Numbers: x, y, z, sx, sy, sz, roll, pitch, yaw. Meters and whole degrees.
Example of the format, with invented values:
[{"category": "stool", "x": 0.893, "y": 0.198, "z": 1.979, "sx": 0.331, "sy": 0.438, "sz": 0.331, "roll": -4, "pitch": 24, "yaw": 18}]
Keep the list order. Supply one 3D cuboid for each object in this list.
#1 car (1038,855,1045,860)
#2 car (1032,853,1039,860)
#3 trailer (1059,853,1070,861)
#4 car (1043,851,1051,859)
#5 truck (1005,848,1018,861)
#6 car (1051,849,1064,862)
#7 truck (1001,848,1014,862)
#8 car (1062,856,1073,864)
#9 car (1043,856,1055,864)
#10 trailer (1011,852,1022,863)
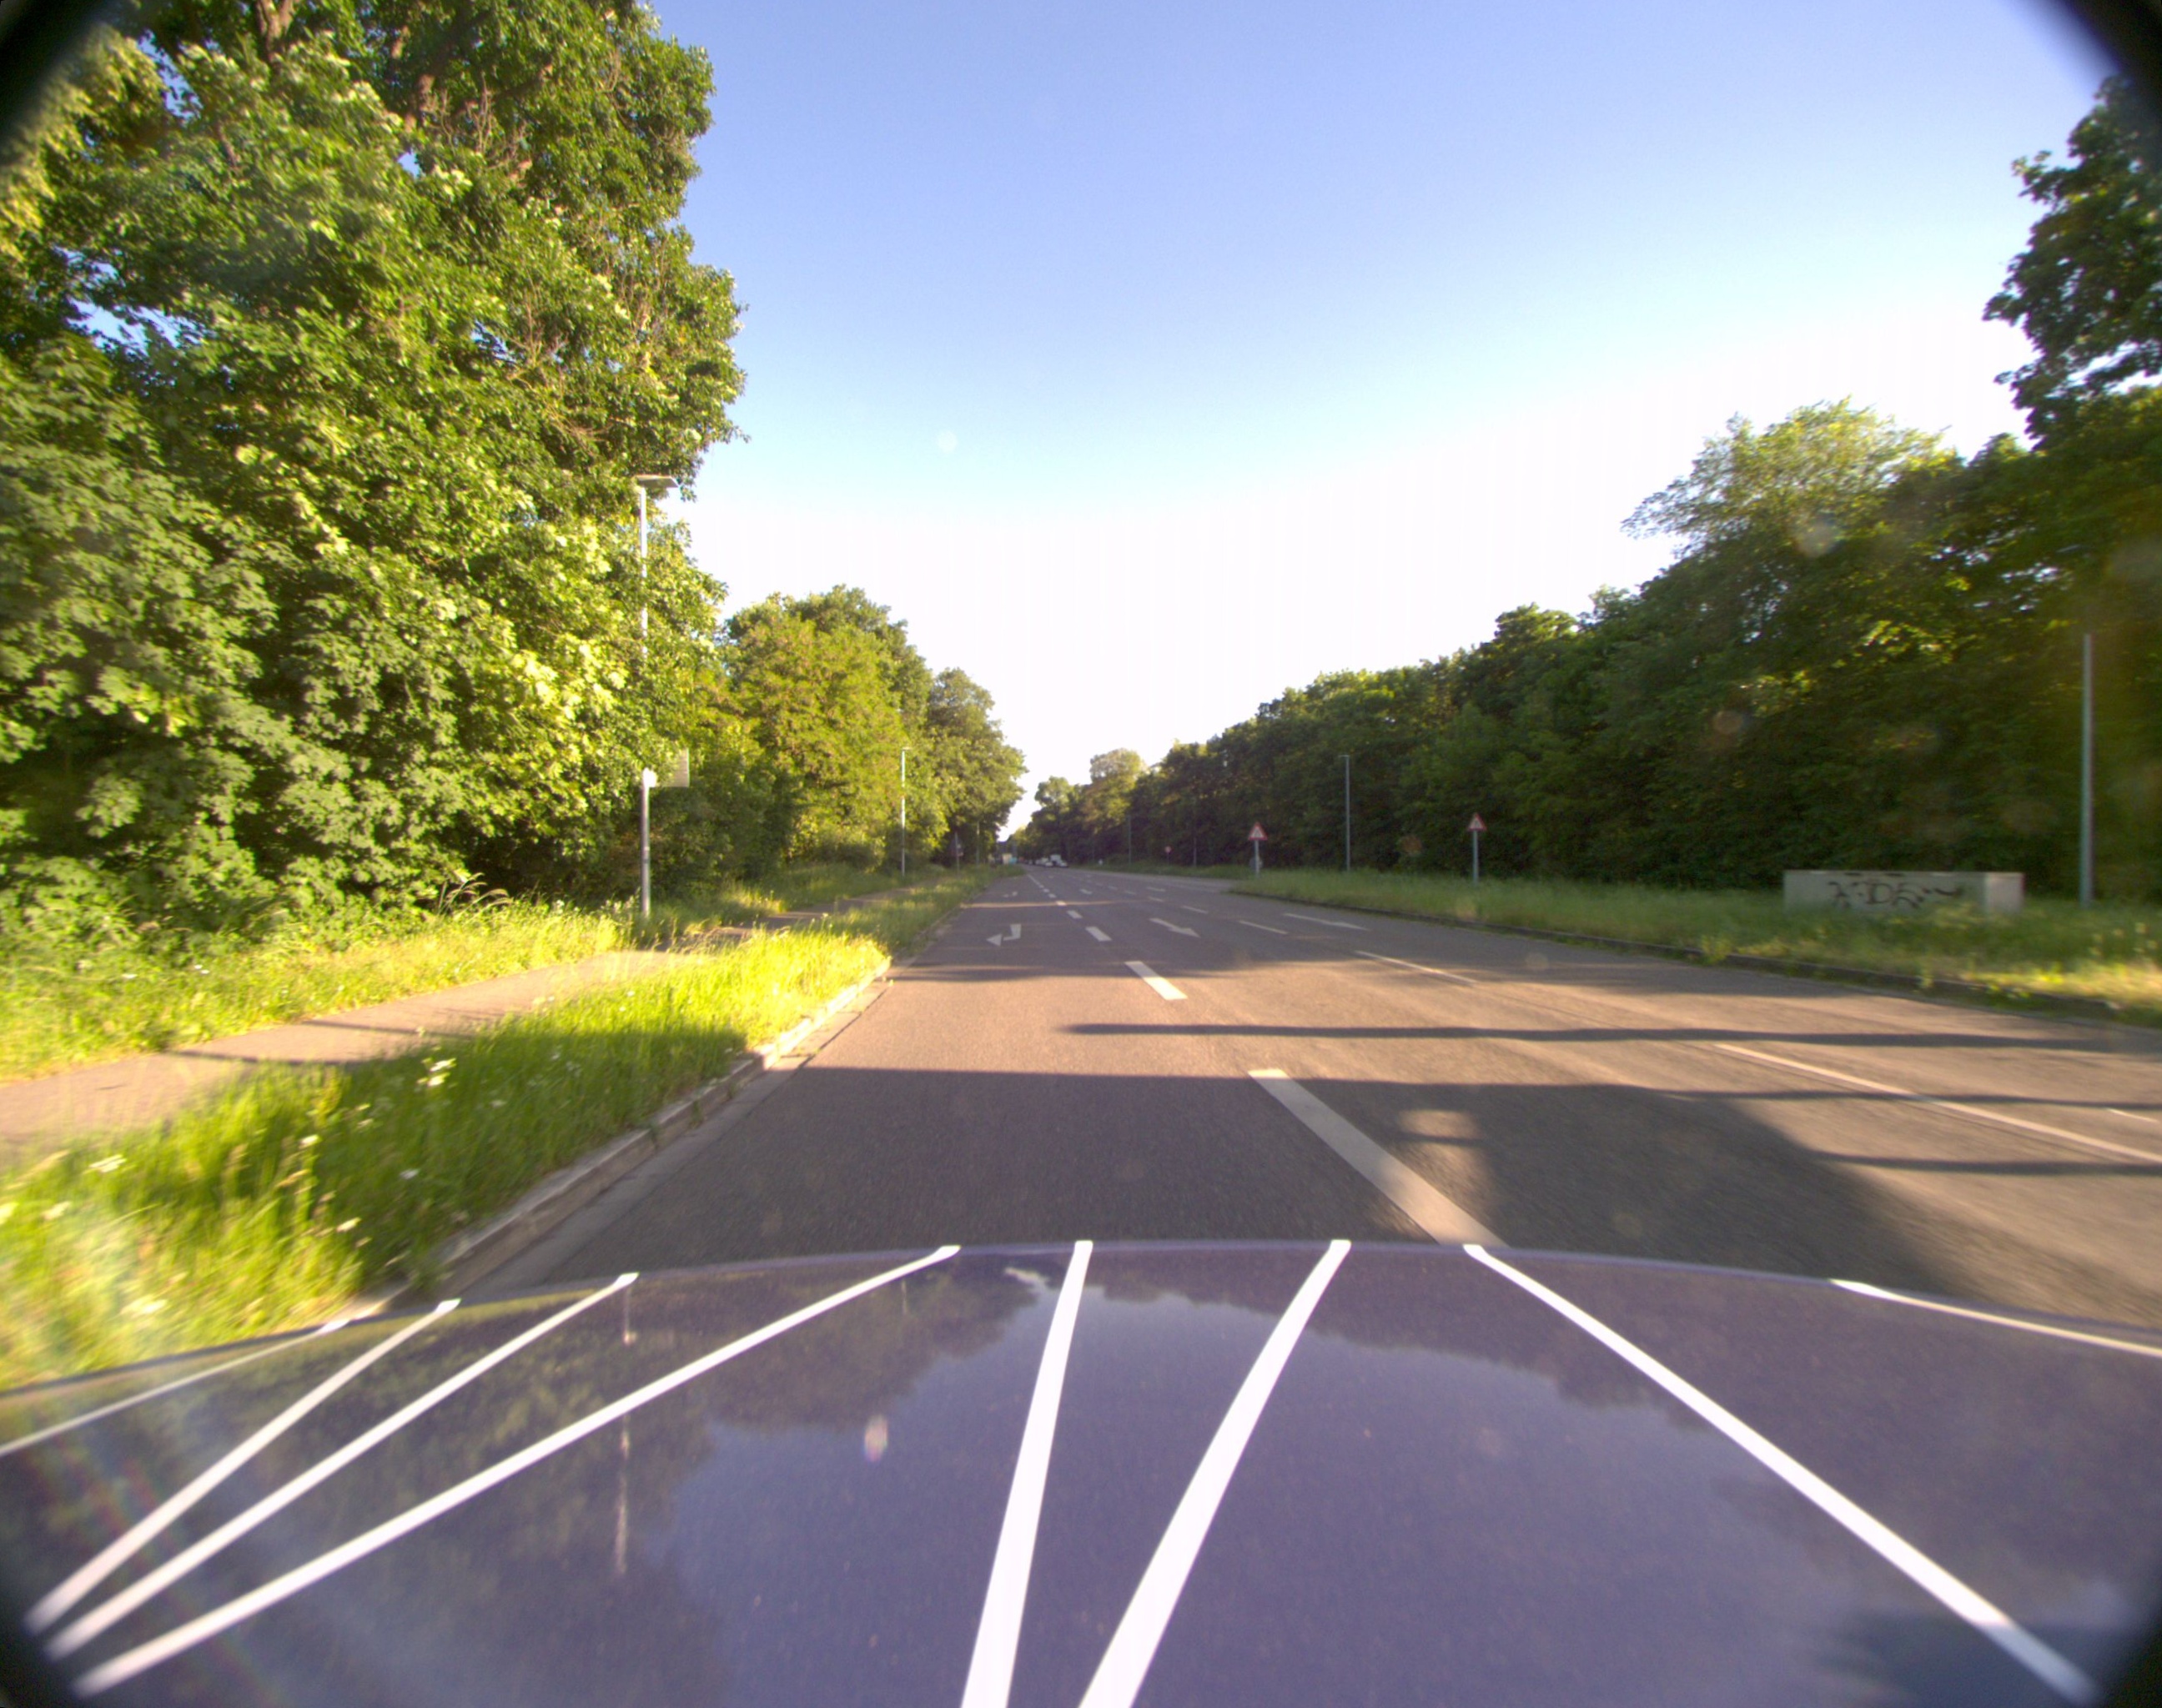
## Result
[{"category": "car", "x": -11.491, "y": 0.933, "z": 221.900, "sx": 1.807, "sy": 1.496, "sz": 3.909, "roll": 1, "pitch": 0, "yaw": -8}, {"category": "car", "x": -14.716, "y": 0.793, "z": 246.911, "sx": 2.000, "sy": 2.002, "sz": 3.997, "roll": 0, "pitch": 0, "yaw": -8}, {"category": "trailer", "x": -3.559, "y": 0.567, "z": 165.107, "sx": 1.807, "sy": 1.719, "sz": 3.644, "roll": 1, "pitch": 0, "yaw": -8}, {"category": "car", "x": -9.366, "y": 0.316, "z": 209.585, "sx": 1.693, "sy": 2.089, "sz": 4.629, "roll": 1, "pitch": 0, "yaw": -8}, {"category": "truck", "x": -15.810, "y": 0.171, "z": 172.411, "sx": 2.391, "sy": 2.855, "sz": 5.594, "roll": -3, "pitch": 1, "yaw": -8}, {"category": "car", "x": -5.512, "y": 0.313, "z": 177.971, "sx": 2.462, "sy": 2.830, "sz": 4.795, "roll": 1, "pitch": 0, "yaw": -8}, {"category": "truck", "x": -17.696, "y": 0.165, "z": 182.453, "sx": 2.708, "sy": 3.218, "sz": 7.122, "roll": 1, "pitch": 0, "yaw": -8}, {"category": "car", "x": -2.854, "y": 1.258, "z": 160.781, "sx": 1.916, "sy": 1.455, "sz": 4.008, "roll": 1, "pitch": 0, "yaw": -8}, {"category": "car", "x": -6.616, "y": 1.191, "z": 155.278, "sx": 1.835, "sy": 1.446, "sz": 4.477, "roll": 1, "pitch": 0, "yaw": -9}, {"category": "trailer", "x": -13.143, "y": 0.658, "z": 154.769, "sx": 1.870, "sy": 2.165, "sz": 4.125, "roll": -2, "pitch": 1, "yaw": -8}]
